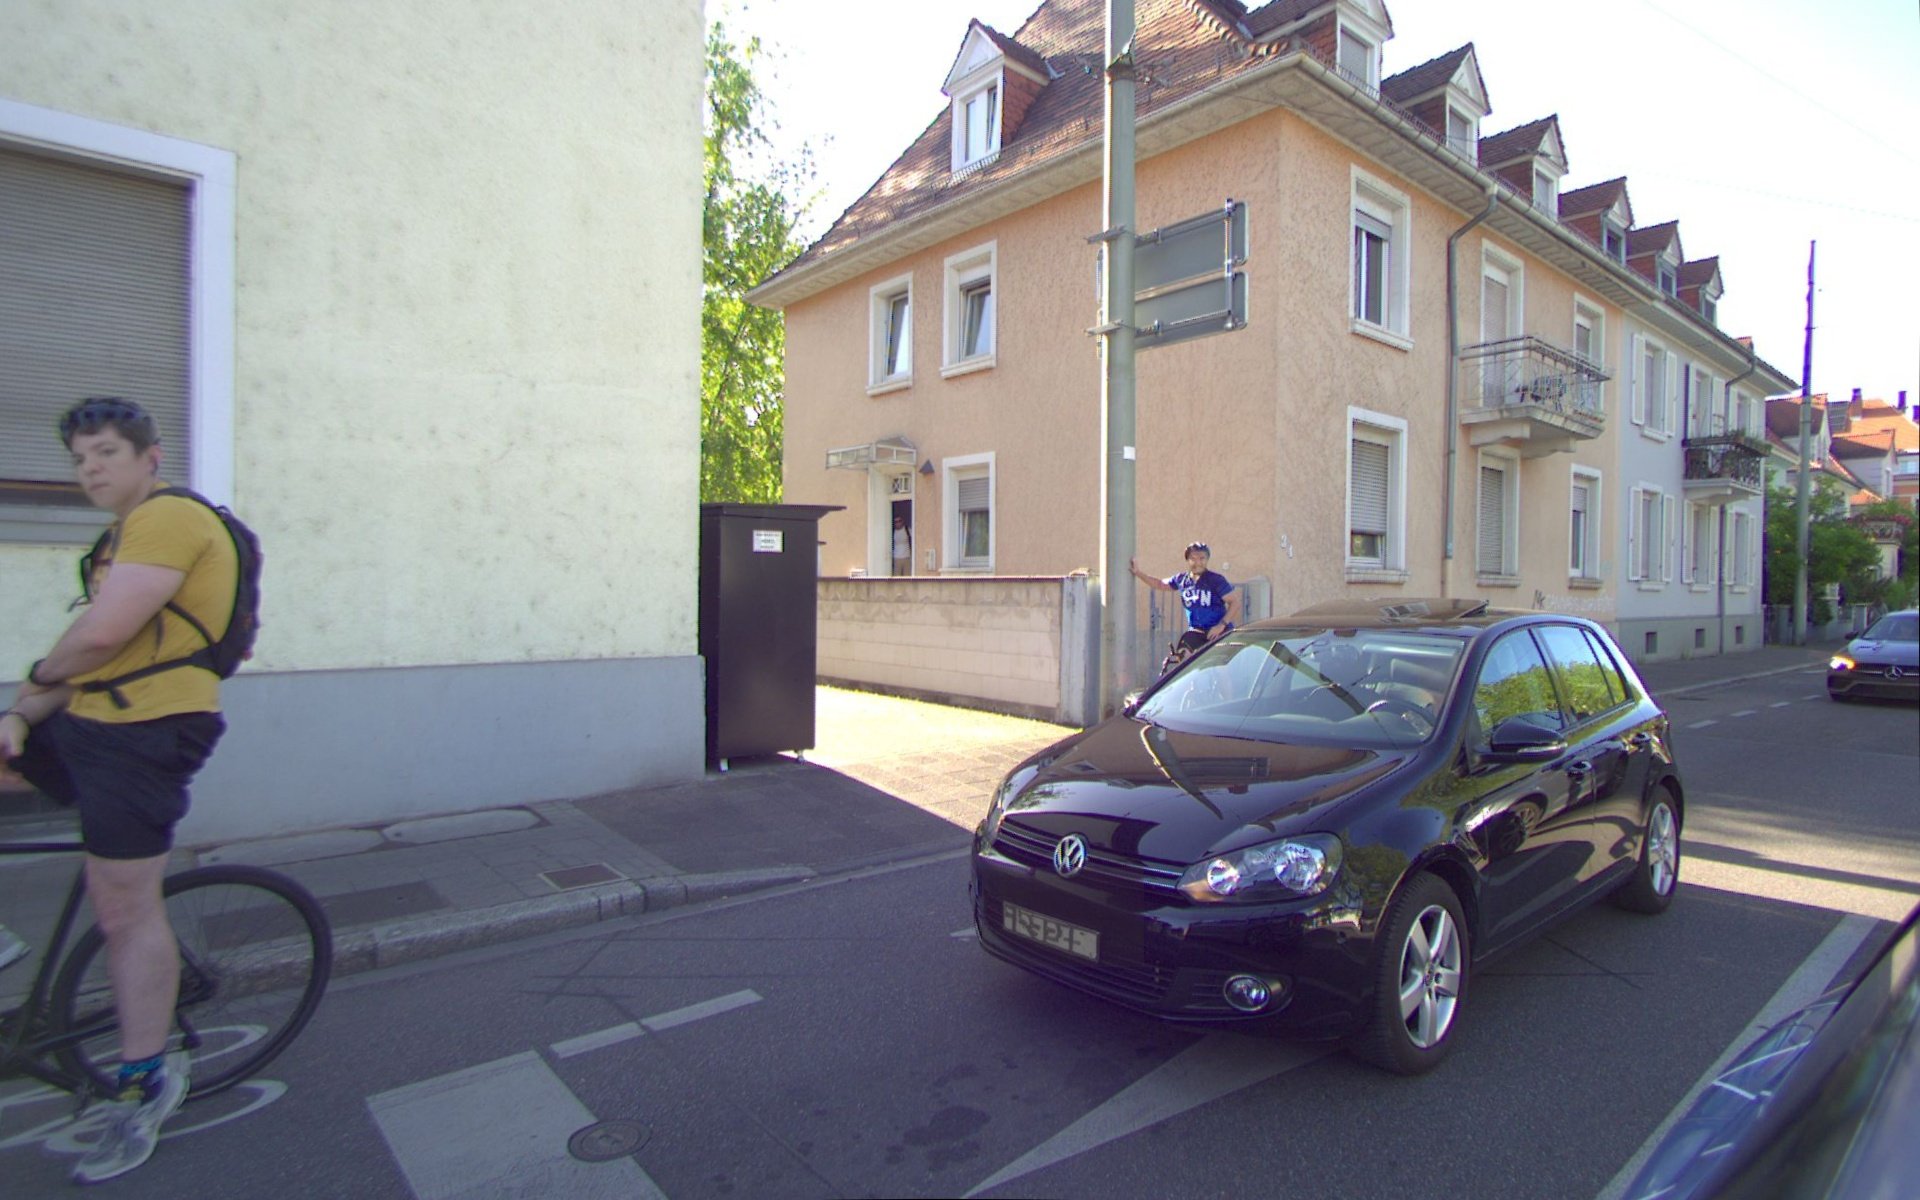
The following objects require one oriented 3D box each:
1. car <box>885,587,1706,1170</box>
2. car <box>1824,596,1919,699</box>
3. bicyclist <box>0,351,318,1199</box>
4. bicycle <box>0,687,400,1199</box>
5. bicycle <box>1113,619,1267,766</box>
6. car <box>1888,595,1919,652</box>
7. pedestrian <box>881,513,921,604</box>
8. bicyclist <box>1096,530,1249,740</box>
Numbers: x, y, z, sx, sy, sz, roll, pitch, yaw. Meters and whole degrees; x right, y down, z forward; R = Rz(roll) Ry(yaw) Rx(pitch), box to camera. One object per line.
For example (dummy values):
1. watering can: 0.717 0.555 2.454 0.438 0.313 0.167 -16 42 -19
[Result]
1. car: 1.747 0.681 4.494 3.921 1.456 1.716 -1 0 -41
2. car: 15.484 0.709 15.604 4.398 1.449 1.829 1 0 -28
3. bicyclist: -2.337 0.427 2.746 0.777 1.991 0.768 0 0 36
4. bicycle: -2.499 0.866 2.574 0.777 1.120 1.720 0 0 36
5. bicycle: 2.050 0.758 8.889 0.554 1.088 1.601 6 4 42
6. car: 26.760 0.618 27.438 4.258 1.448 1.824 -1 0 -40
7. pedestrian: -1.120 -0.793 18.948 0.598 1.624 0.763 3 5 -8
8. bicyclist: 1.887 0.268 9.037 1.018 1.714 0.718 6 4 42
